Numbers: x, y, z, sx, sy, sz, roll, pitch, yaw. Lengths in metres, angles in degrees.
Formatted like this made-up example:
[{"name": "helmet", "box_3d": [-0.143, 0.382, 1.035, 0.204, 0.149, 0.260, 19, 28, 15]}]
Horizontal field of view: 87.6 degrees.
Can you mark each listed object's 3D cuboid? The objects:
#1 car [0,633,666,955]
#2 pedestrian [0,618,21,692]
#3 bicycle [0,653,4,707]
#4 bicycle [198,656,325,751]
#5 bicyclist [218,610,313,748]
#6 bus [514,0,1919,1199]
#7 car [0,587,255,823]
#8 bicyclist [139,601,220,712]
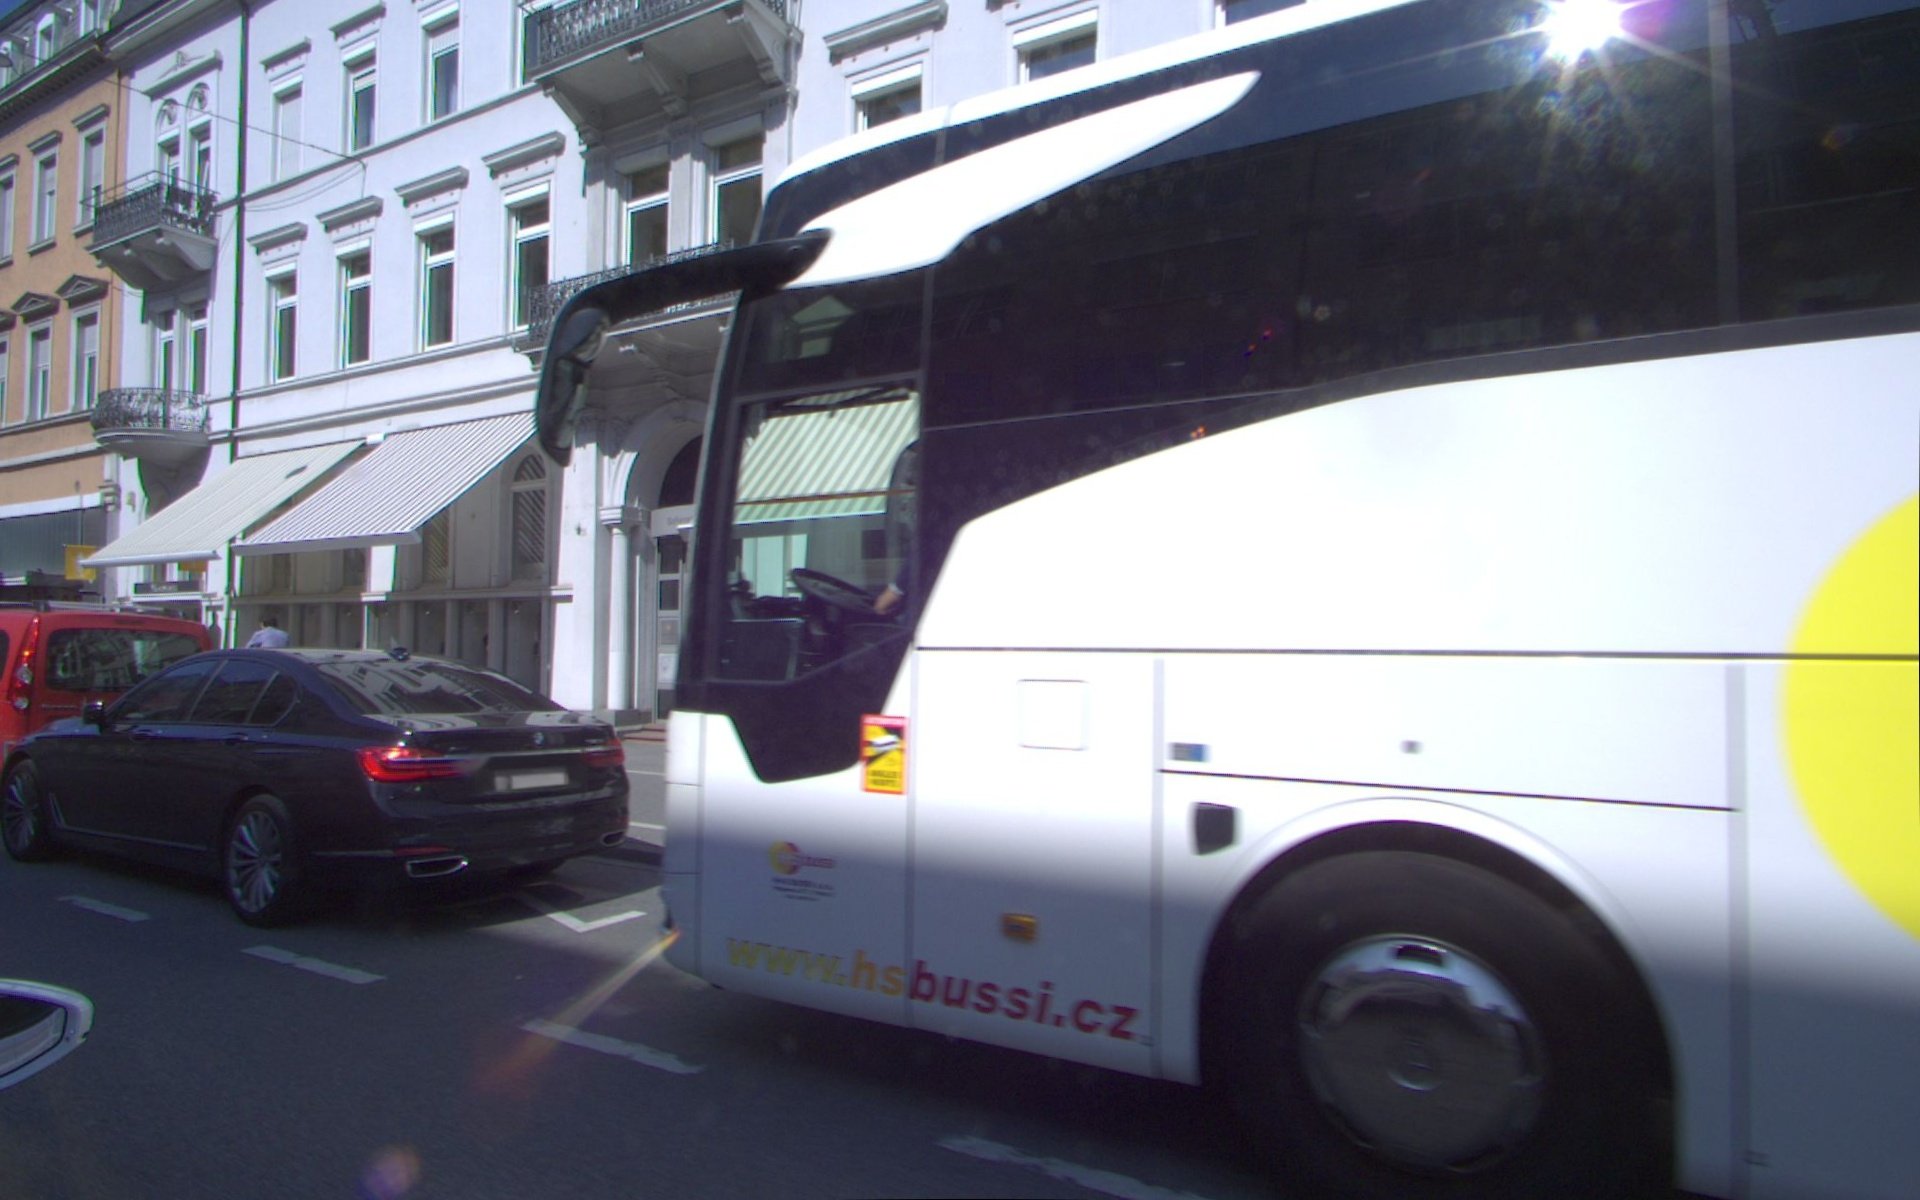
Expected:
[{"name": "car", "box_3d": [-4.595, 1.034, 6.849, 5.146, 1.487, 1.859, -1, -5, 29]}, {"name": "pedestrian", "box_3d": [-22.358, 1.266, 23.149, 0.930, 1.706, 0.646, 0, -2, 29]}, {"name": "bicycle", "box_3d": [-19.214, 1.513, 19.303, 2.071, 1.009, 0.563, 0, -2, 31]}, {"name": "bicycle", "box_3d": [-9.425, 1.359, 13.485, 2.041, 1.135, 0.554, 0, 0, 29]}, {"name": "bicyclist", "box_3d": [-9.416, 1.051, 13.584, 0.998, 1.791, 0.646, 0, -2, 29]}, {"name": "bus", "box_3d": [4.504, -0.206, 2.194, 12.231, 3.786, 2.883, -1, -5, 28]}, {"name": "car", "box_3d": [-9.214, 0.908, 9.776, 4.282, 1.886, 1.830, 0, -4, 25]}, {"name": "bicyclist", "box_3d": [-12.430, 0.884, 15.955, 0.998, 1.706, 0.646, 0, -2, 29]}]
